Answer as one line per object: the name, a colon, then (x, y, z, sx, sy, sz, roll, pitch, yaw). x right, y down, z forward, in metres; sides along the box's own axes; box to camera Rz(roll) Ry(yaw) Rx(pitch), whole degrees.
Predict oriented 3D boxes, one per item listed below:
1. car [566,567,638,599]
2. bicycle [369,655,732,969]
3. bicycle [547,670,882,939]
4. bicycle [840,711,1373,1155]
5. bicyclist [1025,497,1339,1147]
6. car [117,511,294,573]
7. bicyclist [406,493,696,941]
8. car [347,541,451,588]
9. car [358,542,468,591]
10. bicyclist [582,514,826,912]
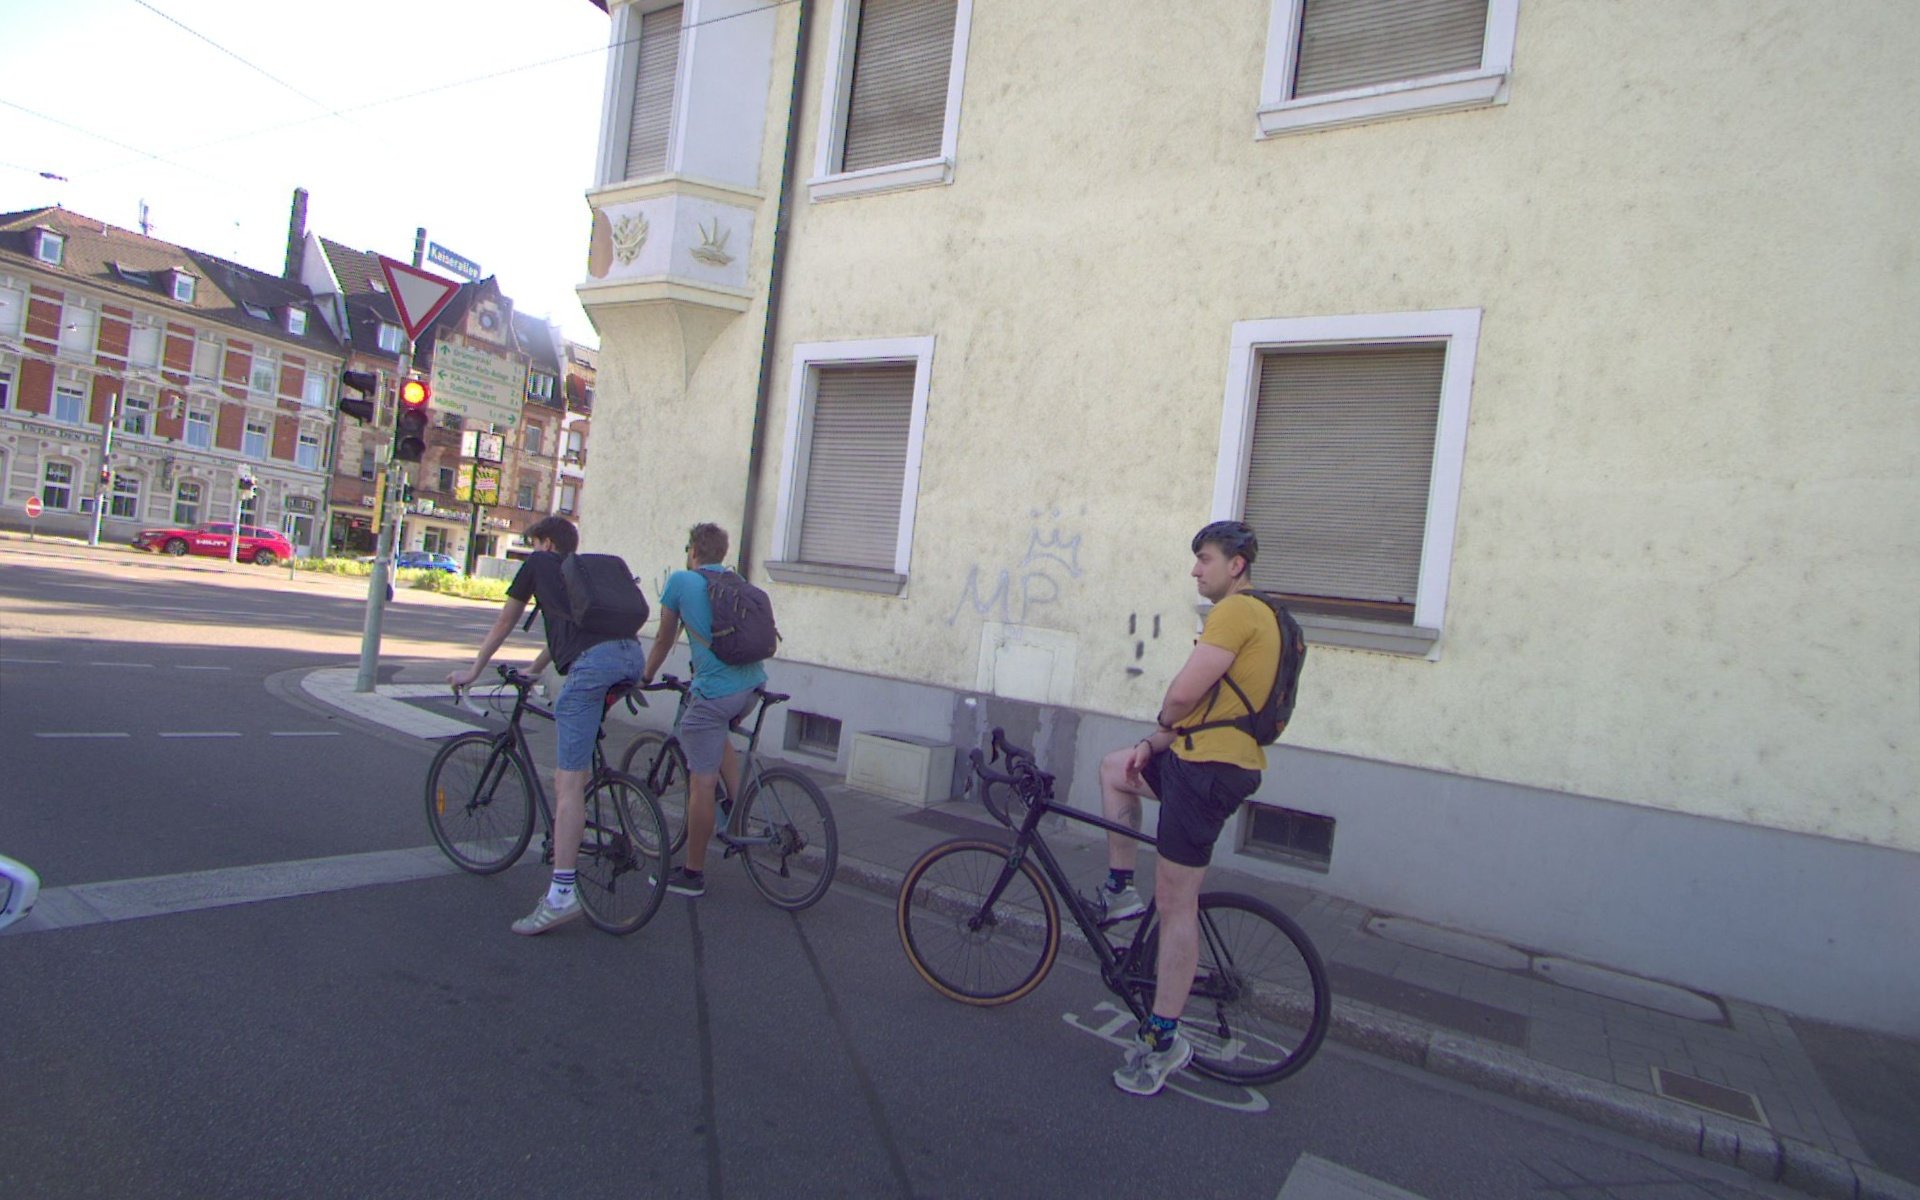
car: (-23.148, -1.077, 65.135, 1.842, 1.454, 3.985, 6, -2, 35)
bicycle: (-1.898, 0.866, 4.550, 1.753, 1.003, 0.482, 6, -1, 32)
bicycle: (-1.314, 0.979, 5.217, 1.753, 0.995, 0.504, 6, -1, 32)
bicycle: (0.551, 1.127, 3.830, 1.709, 1.119, 0.783, 7, -1, 18)
bicyclist: (0.824, 0.711, 3.654, 0.763, 1.990, 0.783, 7, 0, 18)
car: (-27.991, -2.126, 37.494, 1.774, 1.487, 4.865, 8, -1, 33)
bicyclist: (-1.849, 0.472, 4.553, 0.920, 1.787, 0.590, 6, -1, 32)
car: (-27.474, -1.709, 49.395, 1.775, 1.641, 3.994, 6, -2, 33)
car: (-25.435, -1.538, 46.886, 1.775, 1.641, 3.994, 6, -2, 33)
bicyclist: (-1.346, 0.539, 5.272, 0.960, 1.868, 0.504, 6, -1, 32)
